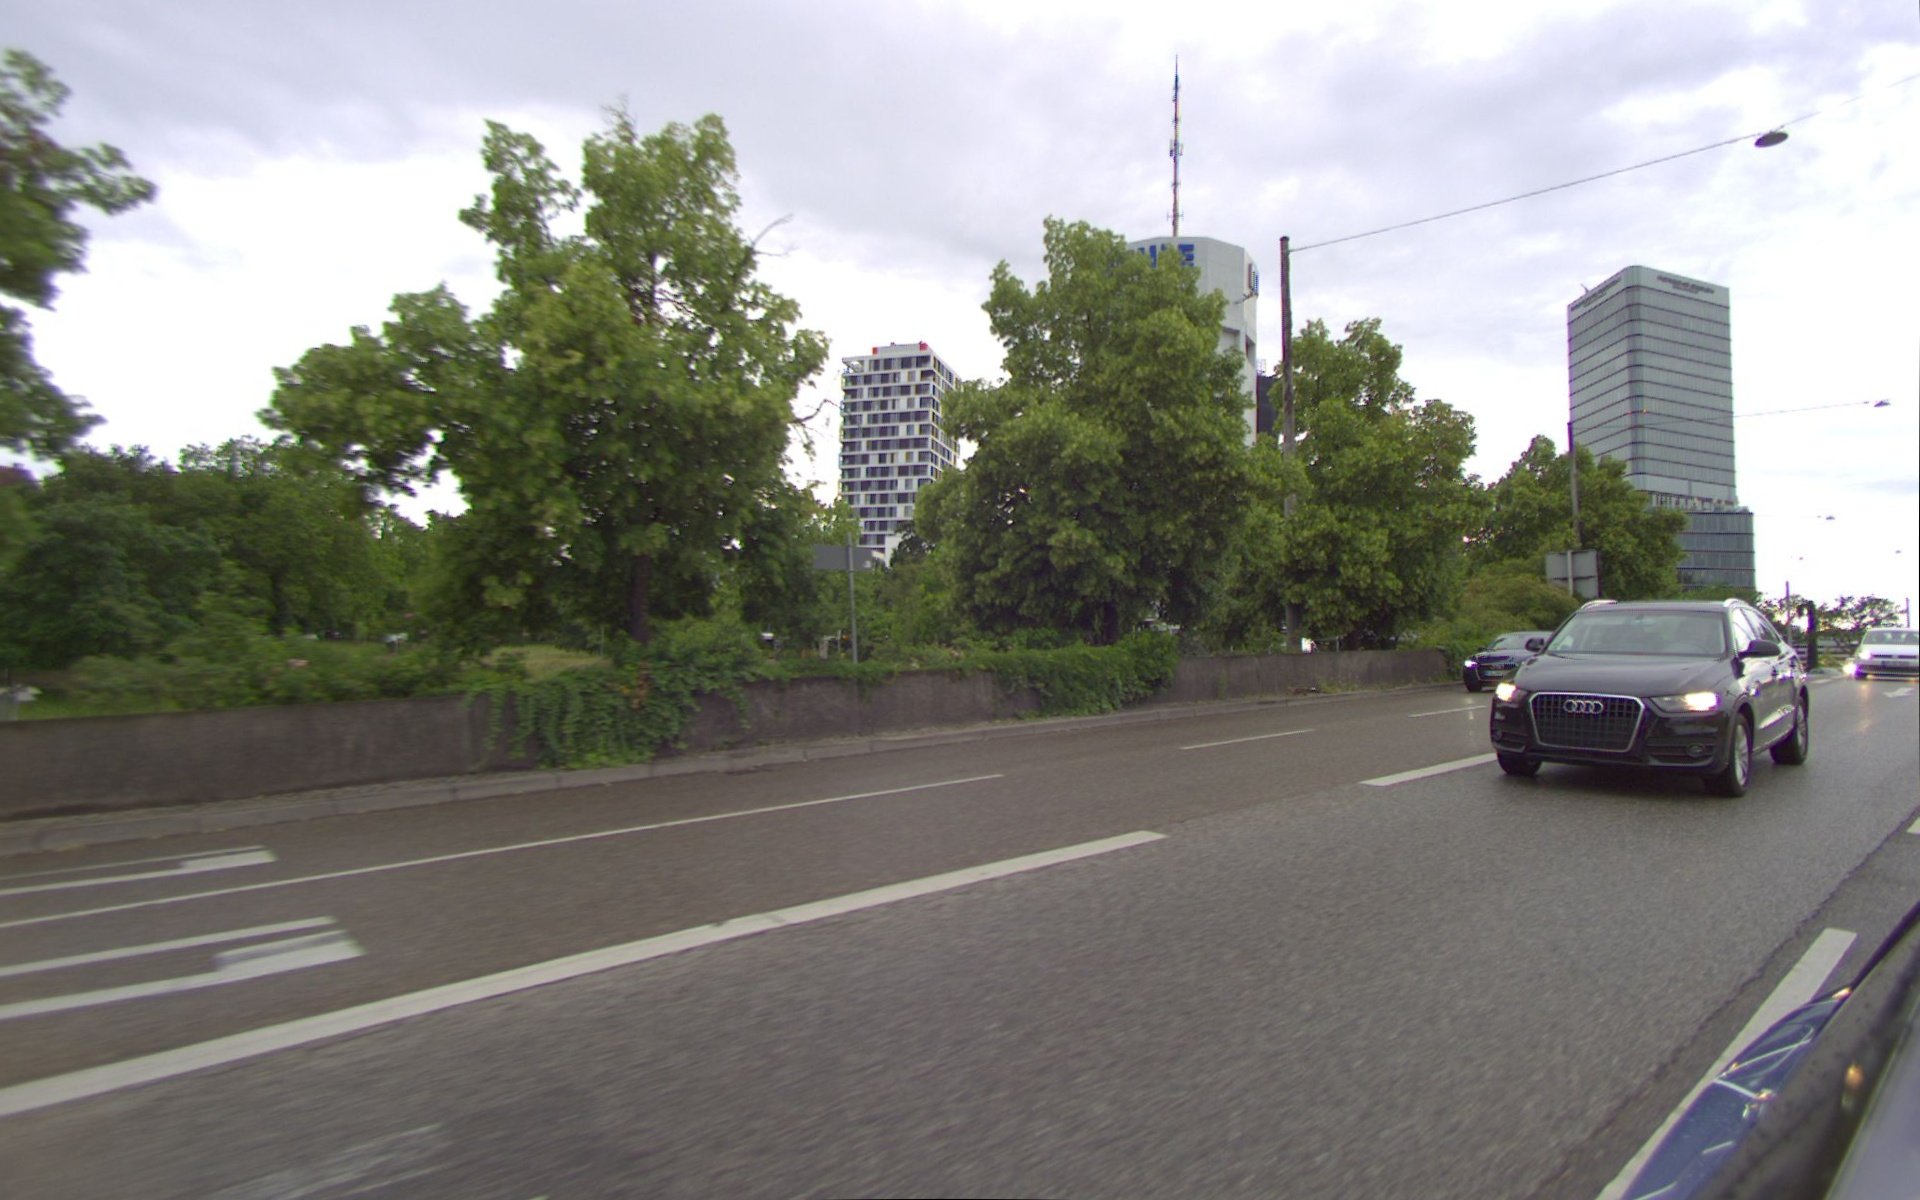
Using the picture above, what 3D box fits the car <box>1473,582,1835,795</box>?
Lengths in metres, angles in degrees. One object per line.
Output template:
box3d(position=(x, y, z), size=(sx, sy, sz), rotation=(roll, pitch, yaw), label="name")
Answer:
box3d(position=(6.561, 0.693, 9.406), size=(4.053, 1.554, 1.728), rotation=(0, -3, -40), label="car")

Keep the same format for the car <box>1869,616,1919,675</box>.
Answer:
box3d(position=(25.971, 1.211, 27.560), size=(1.724, 1.491, 4.198), rotation=(-2, -3, 42), label="car")

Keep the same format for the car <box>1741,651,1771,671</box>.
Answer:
box3d(position=(59.037, 4.534, 75.053), size=(1.628, 1.496, 3.623), rotation=(-2, -5, 39), label="car")

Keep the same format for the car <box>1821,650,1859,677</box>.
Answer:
box3d(position=(59.893, 4.313, 68.896), size=(1.794, 1.798, 3.941), rotation=(-2, -5, 40), label="car")

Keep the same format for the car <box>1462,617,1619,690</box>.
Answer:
box3d(position=(13.595, 1.198, 23.622), size=(4.273, 1.444, 1.874), rotation=(-1, -2, -42), label="car")
